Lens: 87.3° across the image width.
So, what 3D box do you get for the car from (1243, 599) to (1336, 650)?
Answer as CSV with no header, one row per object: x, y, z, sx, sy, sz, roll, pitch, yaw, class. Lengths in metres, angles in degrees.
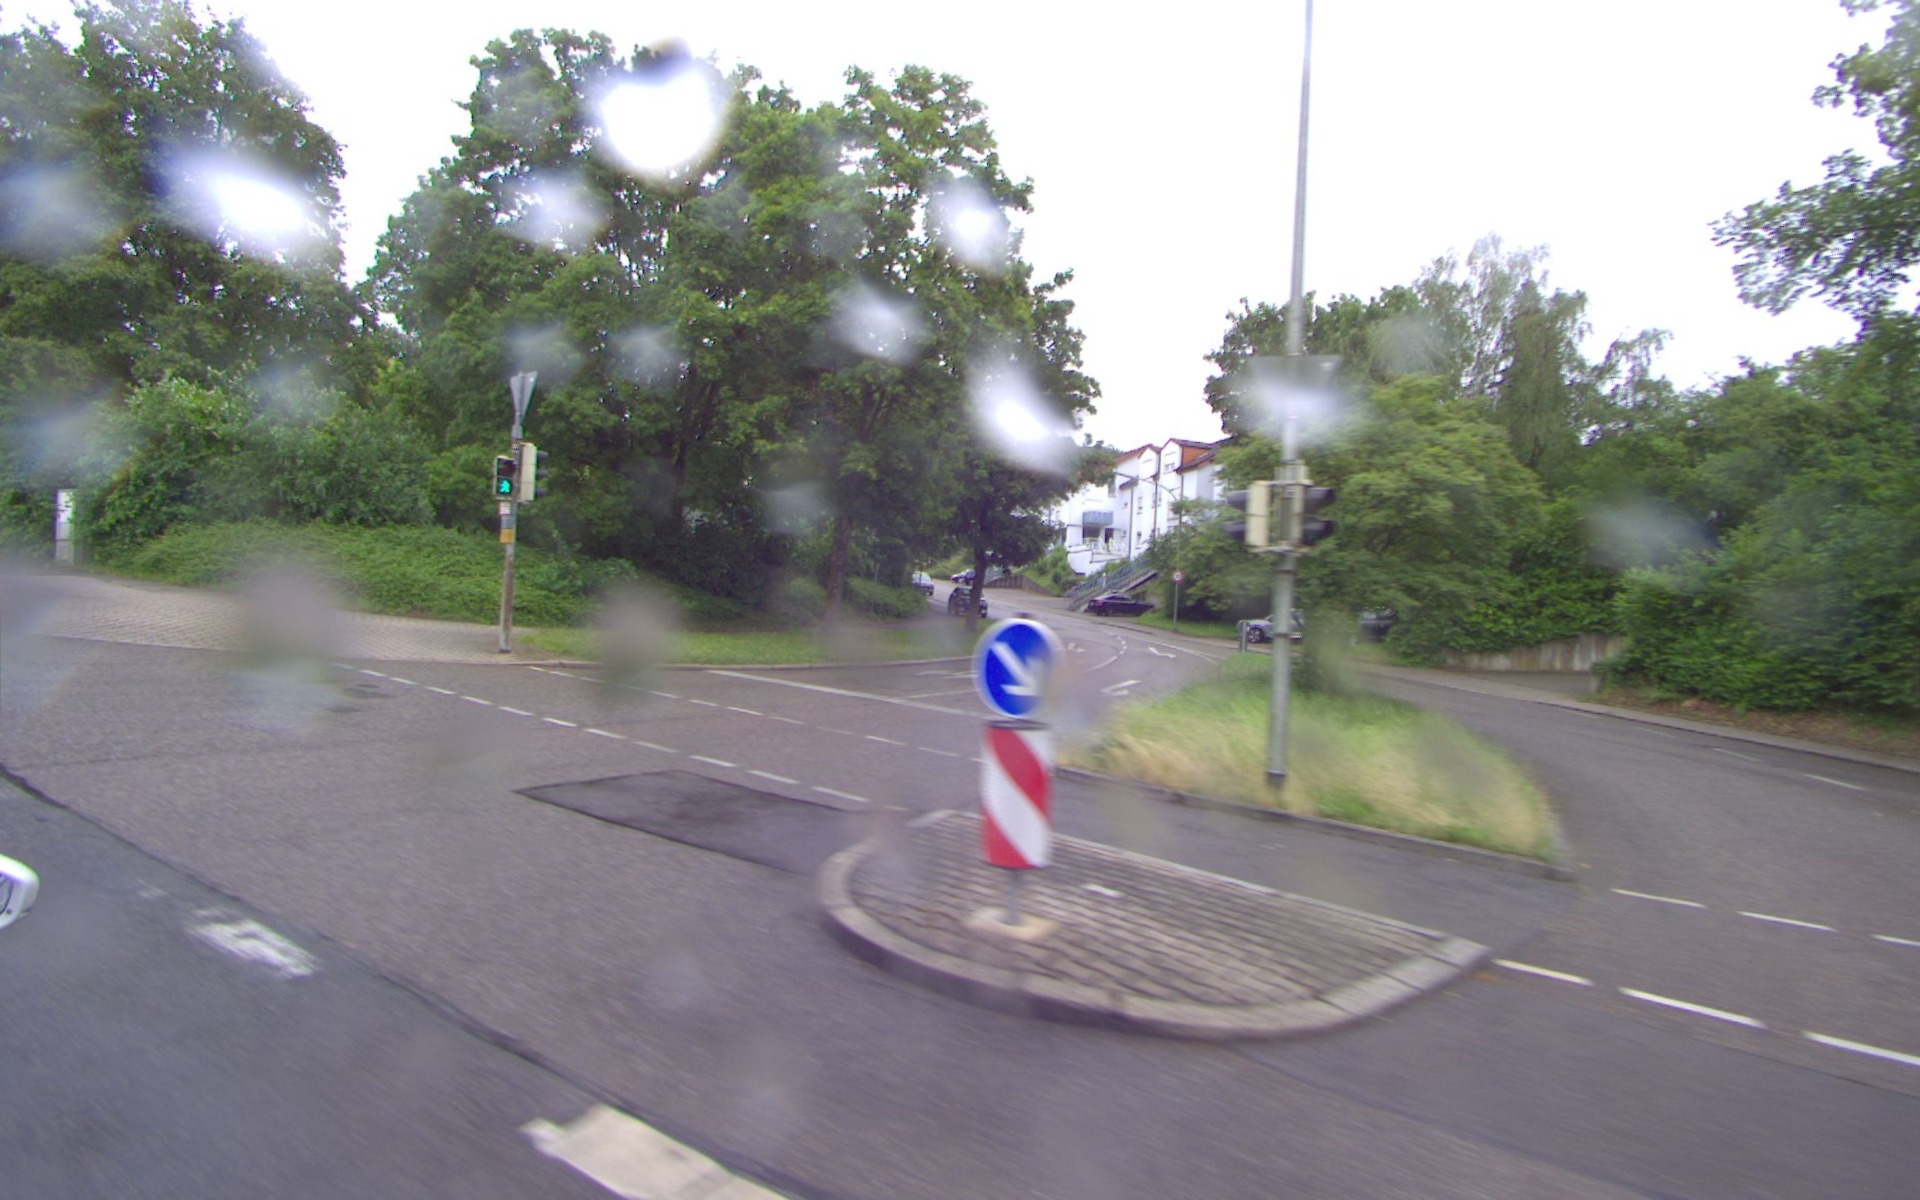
15.650,1.138,47.835,3.925,1.924,1.956,7,2,19,car

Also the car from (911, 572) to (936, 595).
-2.848,-1.287,78.658,1.672,1.463,4.000,7,-1,0,car

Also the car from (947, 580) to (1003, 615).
0.837,-0.111,53.101,1.794,1.591,3.999,7,1,17,car

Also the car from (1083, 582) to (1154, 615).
10.195,-0.082,64.722,3.935,1.669,1.951,6,1,-13,car
